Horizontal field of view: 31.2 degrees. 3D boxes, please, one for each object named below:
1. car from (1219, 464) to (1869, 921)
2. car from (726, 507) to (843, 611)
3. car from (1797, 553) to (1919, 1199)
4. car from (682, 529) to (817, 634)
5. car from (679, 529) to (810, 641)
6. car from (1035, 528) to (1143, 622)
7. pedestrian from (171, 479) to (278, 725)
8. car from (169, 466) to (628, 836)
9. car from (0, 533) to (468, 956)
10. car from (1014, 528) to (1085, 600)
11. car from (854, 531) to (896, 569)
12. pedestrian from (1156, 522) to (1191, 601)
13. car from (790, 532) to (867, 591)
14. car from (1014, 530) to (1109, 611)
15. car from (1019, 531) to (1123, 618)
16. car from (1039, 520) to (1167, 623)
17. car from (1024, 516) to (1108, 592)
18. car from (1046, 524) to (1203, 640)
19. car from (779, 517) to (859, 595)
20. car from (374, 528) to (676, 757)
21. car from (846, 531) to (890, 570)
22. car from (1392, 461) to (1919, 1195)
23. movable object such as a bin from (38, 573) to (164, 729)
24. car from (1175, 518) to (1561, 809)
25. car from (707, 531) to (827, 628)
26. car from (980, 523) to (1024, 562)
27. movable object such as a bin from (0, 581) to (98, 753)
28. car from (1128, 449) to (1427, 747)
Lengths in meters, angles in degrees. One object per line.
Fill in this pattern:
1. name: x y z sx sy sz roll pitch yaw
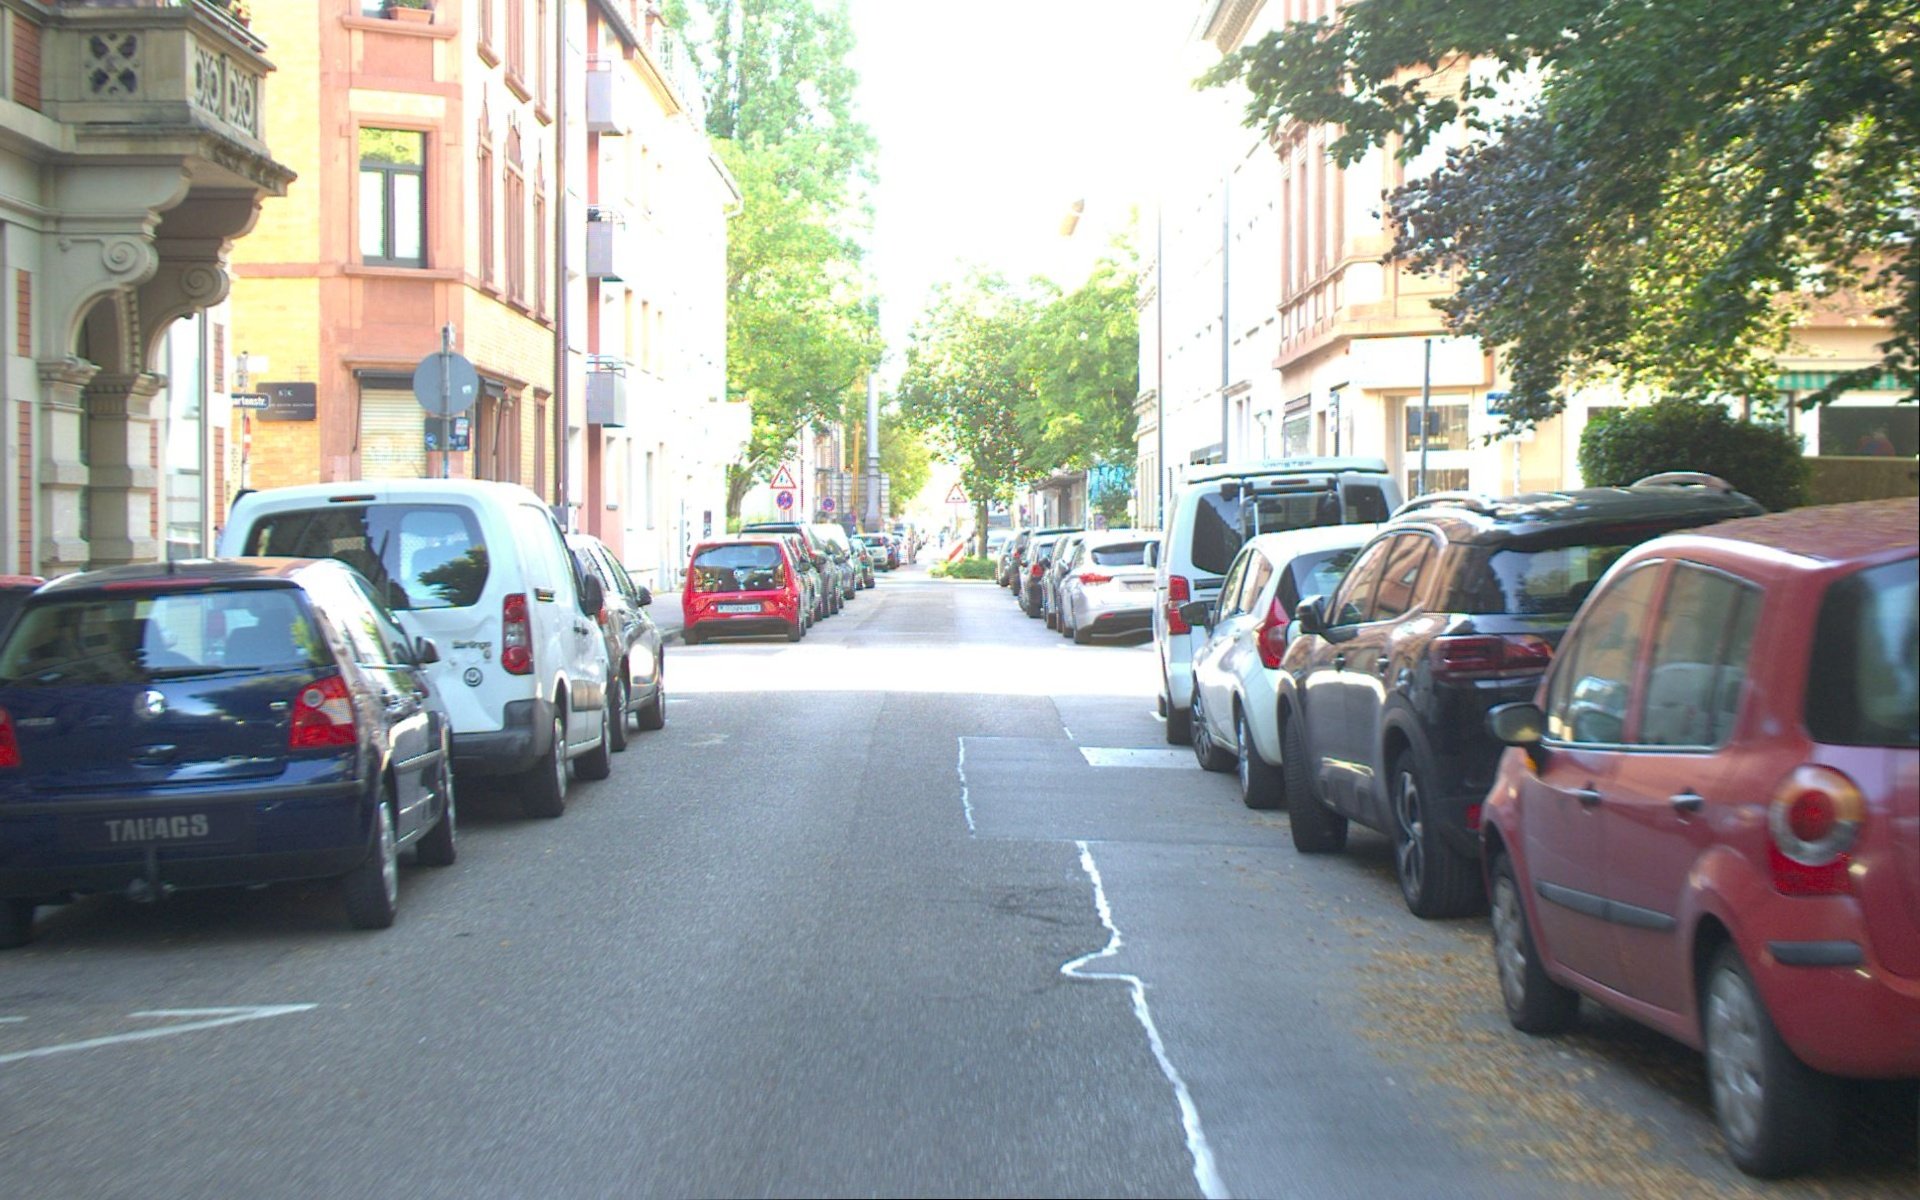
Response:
1. car: 2.373 0.333 15.112 1.739 1.597 4.265 -4 1 -4
2. car: -3.214 -0.784 63.774 1.743 1.805 4.672 -2 1 2
3. car: 2.482 0.625 4.748 1.619 1.481 3.776 -4 1 0
4. car: -3.227 -0.322 53.461 1.695 1.516 4.096 -2 1 2
5. car: -3.014 -0.241 48.665 1.628 1.476 3.601 -2 1 -1
6. car: 2.170 -0.459 58.747 1.598 1.501 4.185 -2 1 -1
7. pedestrian: -5.005 0.020 23.415 0.548 1.639 0.717 1 -1 0
8. car: -3.038 0.206 19.535 1.831 1.805 4.572 -2 1 0
9. car: -3.148 0.497 14.632 1.692 1.509 3.974 -2 1 -3
10. car: 2.200 -0.885 85.258 1.676 1.676 4.094 -2 0 1
11. car: -3.504 -2.066 142.298 1.676 1.482 4.095 -2 1 -1
12. pedestrian: 4.531 -0.814 72.912 0.685 1.654 0.717 -1 1 0
13. car: -3.489 -1.048 91.820 1.670 1.464 3.820 -2 1 3
14. car: 1.994 -0.615 68.225 1.676 1.501 3.938 -2 1 -1
15. car: 2.014 -0.494 63.259 1.676 1.501 3.938 -2 1 -1
16. car: 2.194 -0.477 53.738 1.744 1.501 4.021 -2 1 -1
17. car: 2.439 -1.080 79.924 1.676 1.621 4.251 -4 1 -1
18. car: 2.255 -0.291 48.145 1.743 1.501 4.358 -2 1 -3
19. car: -3.374 -1.077 82.938 1.765 1.779 4.039 -2 1 -1
20. car: -3.064 0.241 24.898 1.692 1.476 3.973 -2 1 -1
21. car: -3.669 -1.984 137.163 1.676 1.482 4.095 -2 1 -1
22. car: 2.457 0.455 9.700 1.618 1.619 3.864 -4 1 -4
23. movable object such as a bin: -6.022 0.349 24.131 0.637 1.038 0.856 2 1 0
24. car: 2.319 0.304 20.446 1.719 1.565 3.829 0 1 -2
25. car: -3.235 -0.373 58.284 1.656 1.516 3.944 -2 1 2
26. car: 1.682 -2.330 138.640 1.676 1.482 3.638 -2 1 -1
27. movable object such as a bin: -5.942 0.418 21.936 0.637 1.038 0.856 2 1 0
28. car: 2.292 -0.070 25.963 1.914 1.991 4.792 -2 1 2
